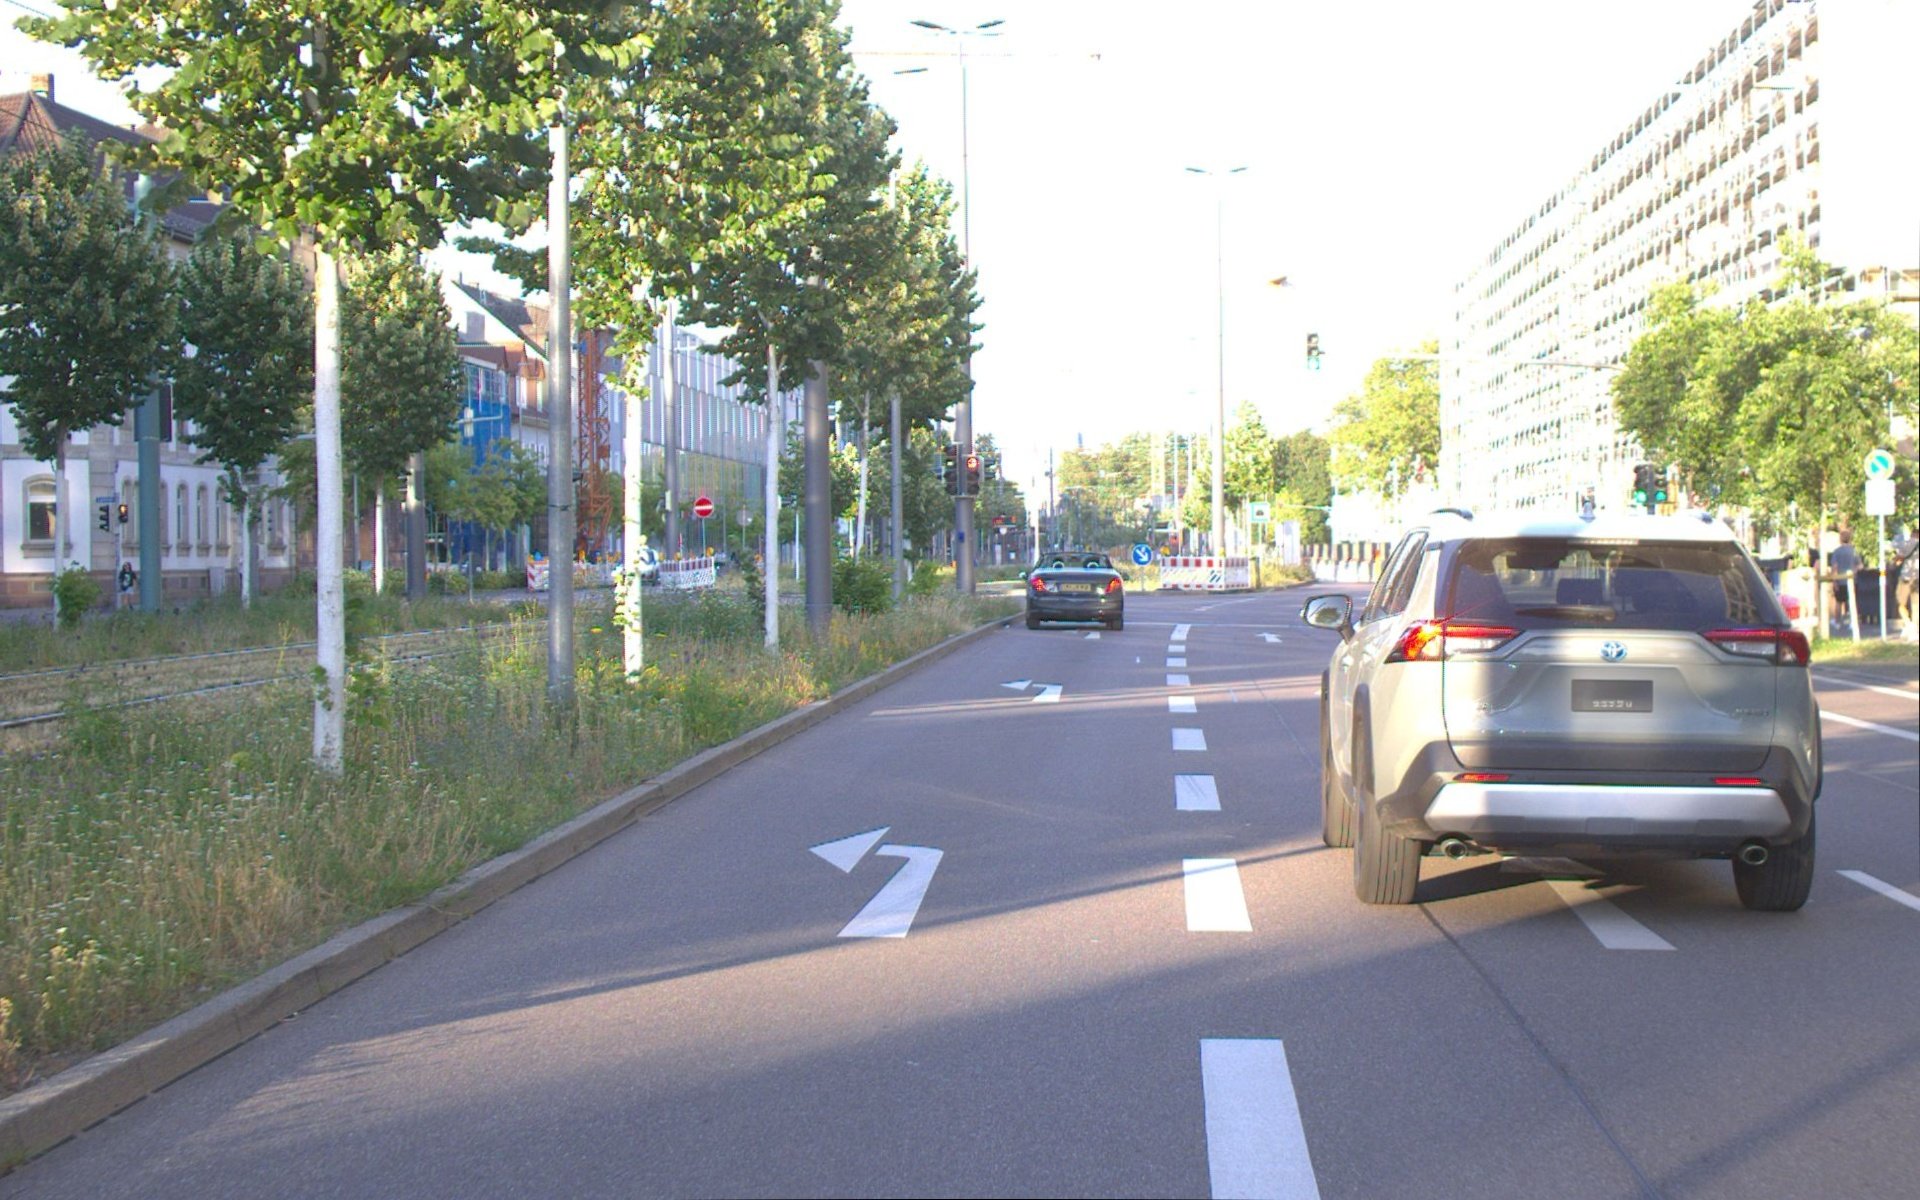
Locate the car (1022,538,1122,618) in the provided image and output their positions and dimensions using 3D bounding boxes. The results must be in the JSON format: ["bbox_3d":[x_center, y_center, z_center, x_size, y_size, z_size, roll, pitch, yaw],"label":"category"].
[{"bbox_3d":[2.026,-0.415,61.138,1.674,1.347,4.000,1,1,3],"label":"car"}]

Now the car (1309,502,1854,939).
[{"bbox_3d":[2.614,0.415,15.419,1.834,1.667,4.282,1,1,3],"label":"car"}]

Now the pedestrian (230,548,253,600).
[{"bbox_3d":[-23.859,-0.874,114.129,0.702,1.710,0.813,1,1,-13],"label":"pedestrian"}]

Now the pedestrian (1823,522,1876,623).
[{"bbox_3d":[15.538,-0.485,60.089,0.685,1.729,0.761,-3,1,3],"label":"pedestrian"}]

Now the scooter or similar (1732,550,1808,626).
[{"bbox_3d":[13.462,-0.204,57.112,1.129,1.209,0.531,-3,-1,19],"label":"scooter or similar"}]

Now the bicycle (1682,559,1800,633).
[{"bbox_3d":[13.413,-0.075,59.071,1.847,1.178,0.608,-3,1,3],"label":"bicycle"}]

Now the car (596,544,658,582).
[{"bbox_3d":[-14.737,-1.660,152.331,1.994,1.575,4.124,-2,1,4],"label":"car"}]

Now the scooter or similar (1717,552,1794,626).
[{"bbox_3d":[13.400,-0.181,57.898,1.156,1.187,0.509,-2,-1,5],"label":"scooter or similar"}]

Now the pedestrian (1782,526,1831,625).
[{"bbox_3d":[14.806,-0.441,60.170,0.653,1.696,0.689,-2,1,3],"label":"pedestrian"}]

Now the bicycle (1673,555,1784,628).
[{"bbox_3d":[13.584,-0.154,60.787,1.793,1.189,0.568,-3,1,-1],"label":"bicycle"}]

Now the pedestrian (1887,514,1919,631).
[{"bbox_3d":[14.648,-0.426,52.949,0.576,1.780,0.828,-2,0,20],"label":"pedestrian"}]
